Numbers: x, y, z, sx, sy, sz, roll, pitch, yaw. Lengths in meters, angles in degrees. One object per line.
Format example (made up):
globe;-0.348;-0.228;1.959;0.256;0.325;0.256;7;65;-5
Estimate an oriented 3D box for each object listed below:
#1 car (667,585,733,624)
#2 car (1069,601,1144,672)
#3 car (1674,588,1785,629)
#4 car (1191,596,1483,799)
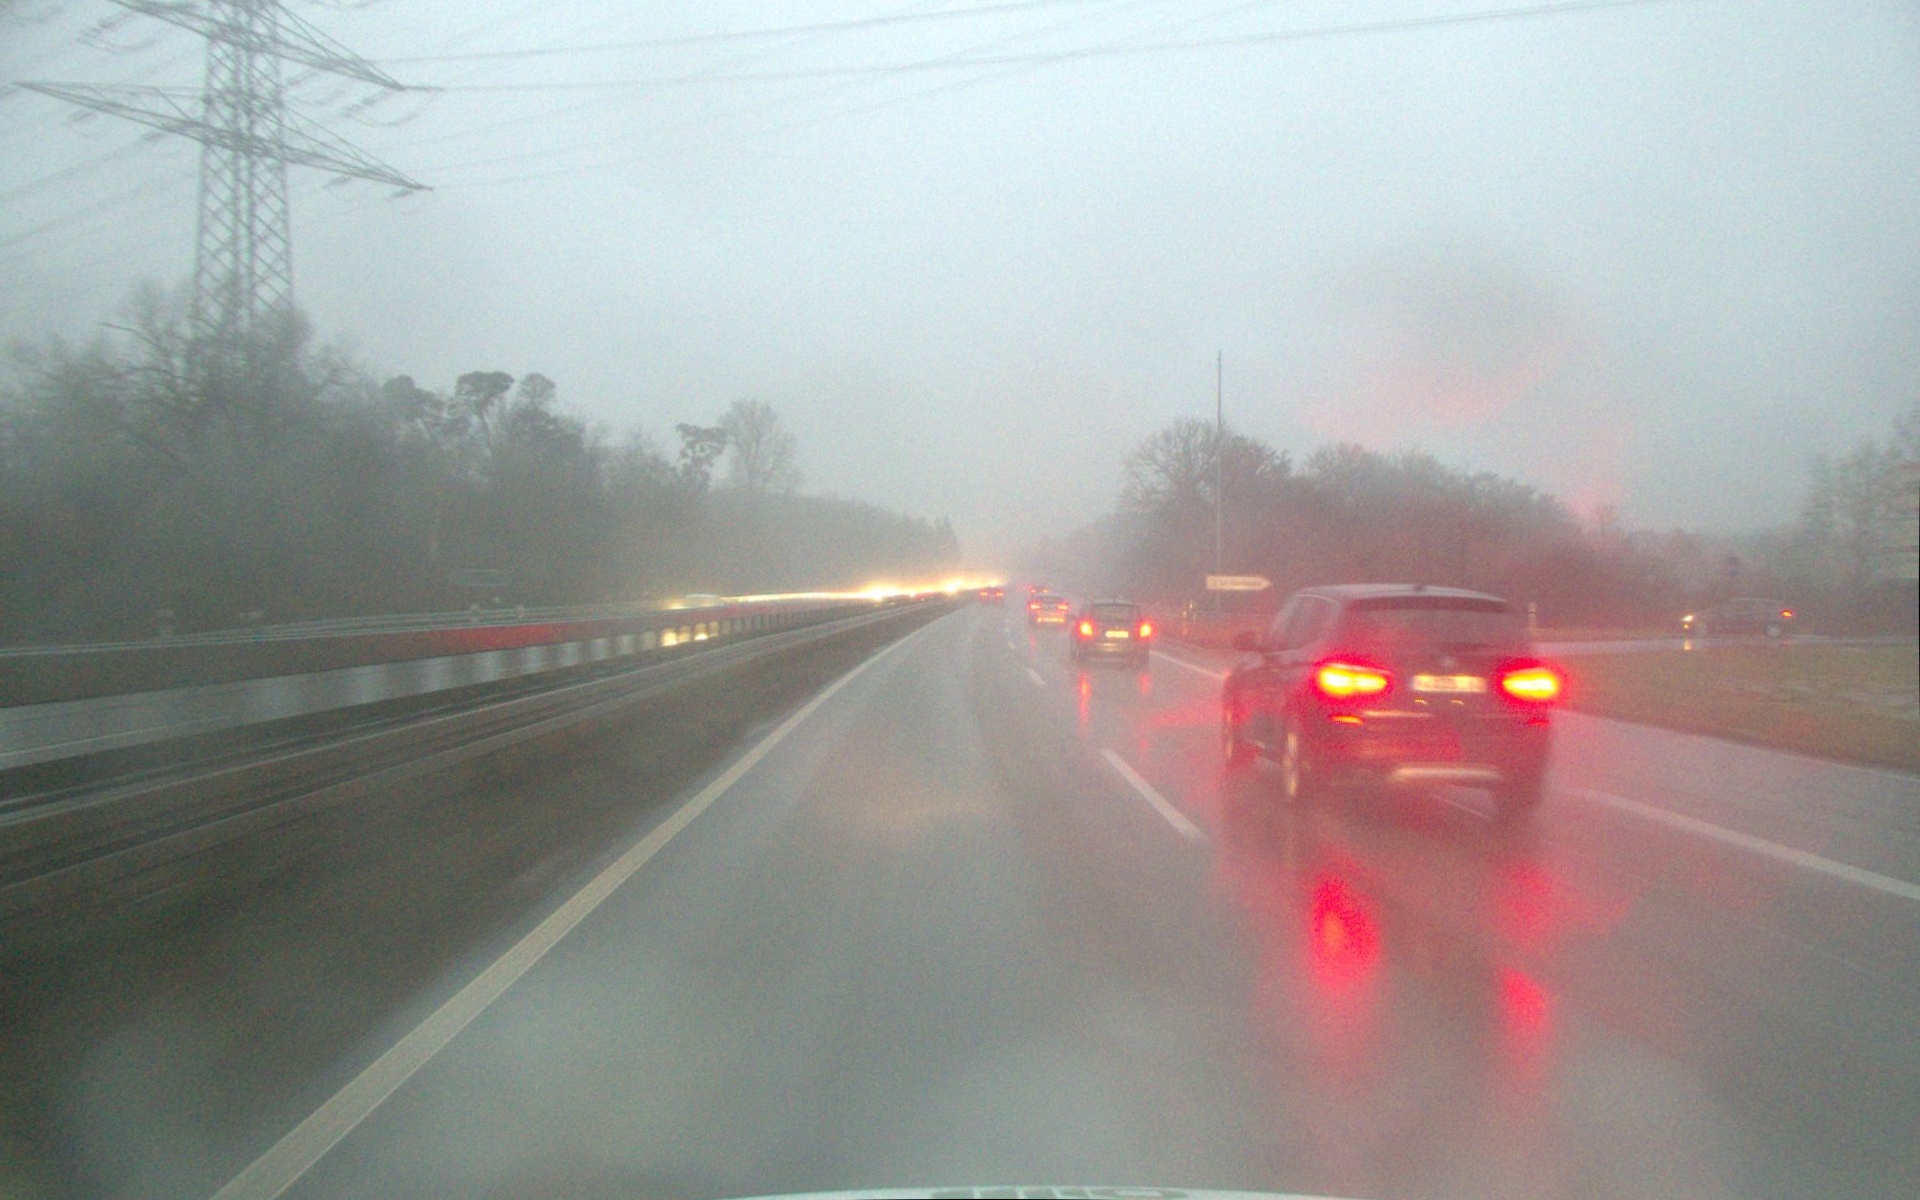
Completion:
car;-10.389;0.155;66.396;1.886;1.464;4.551;1;1;1
car;3.387;0.812;38.671;1.561;1.517;3.595;1;1;2
car;28.972;0.309;62.313;3.733;1.459;1.792;1;1;26
car;3.201;0.757;14.769;1.644;1.535;3.808;1;1;-2
